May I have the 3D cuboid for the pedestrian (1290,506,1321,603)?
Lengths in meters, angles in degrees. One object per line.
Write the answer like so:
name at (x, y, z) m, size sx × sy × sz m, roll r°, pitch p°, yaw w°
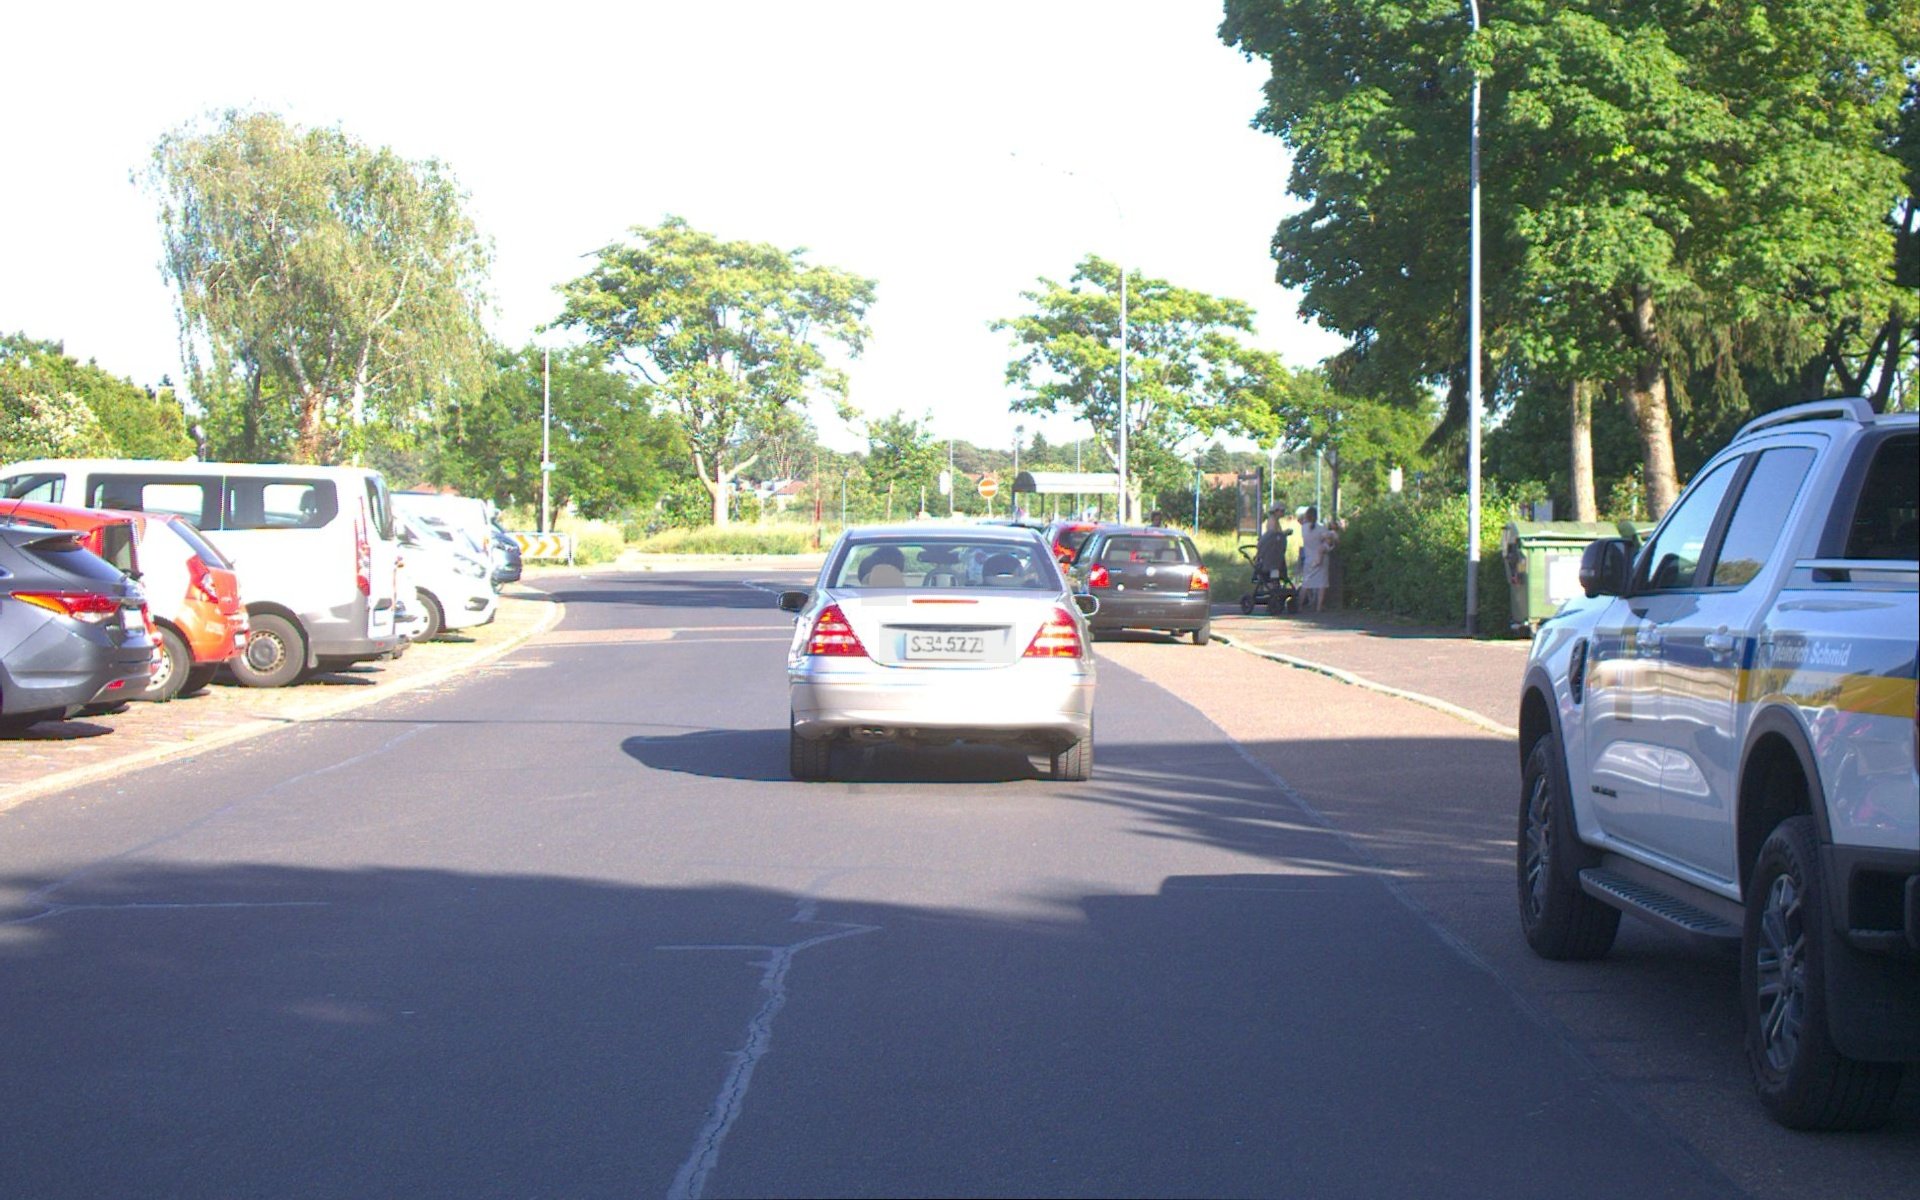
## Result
pedestrian at (5.388, -0.708, 53.653) m, size 0.361 × 1.498 × 0.501 m, roll -1°, pitch 0°, yaw -7°

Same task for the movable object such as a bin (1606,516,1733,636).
movable object such as a bin at (8.555, -0.294, 41.510) m, size 1.274 × 1.411 × 0.951 m, roll 1°, pitch 1°, yaw -3°

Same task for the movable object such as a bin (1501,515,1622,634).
movable object such as a bin at (7.241, -0.307, 41.463) m, size 1.237 × 1.398 × 0.915 m, roll 1°, pitch 1°, yaw -3°

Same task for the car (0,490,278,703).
car at (-7.554, -0.090, 27.940) m, size 3.602 × 1.562 × 1.852 m, roll 3°, pitch 2°, yaw 0°

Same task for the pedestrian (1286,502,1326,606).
pedestrian at (5.238, -0.696, 52.077) m, size 0.485 × 1.559 × 0.469 m, roll -1°, pitch 0°, yaw -8°

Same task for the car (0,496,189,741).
car at (-7.531, 0.010, 22.451) m, size 4.543 × 1.474 × 1.748 m, roll 3°, pitch 2°, yaw 0°

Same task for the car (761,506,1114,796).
car at (-0.201, 0.212, 20.274) m, size 1.816 × 1.458 × 4.361 m, roll 2°, pitch 2°, yaw -2°

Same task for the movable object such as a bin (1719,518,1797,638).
movable object such as a bin at (9.588, -0.267, 41.344) m, size 0.723 × 1.411 × 0.689 m, roll 1°, pitch 1°, yaw -3°

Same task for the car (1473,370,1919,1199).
car at (2.915, 0.383, 9.844) m, size 1.906 × 1.834 × 5.275 m, roll 3°, pitch 2°, yaw -1°

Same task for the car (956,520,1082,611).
car at (1.024, -0.635, 61.514) m, size 1.731 × 1.537 × 3.790 m, roll 1°, pitch 1°, yaw -7°

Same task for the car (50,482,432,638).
car at (-8.302, -0.467, 39.958) m, size 3.987 × 1.577 × 1.884 m, roll 3°, pitch 1°, yaw -1°

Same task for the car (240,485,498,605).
car at (-9.456, -0.895, 55.253) m, size 3.976 × 1.774 × 1.926 m, roll 2°, pitch 2°, yaw -8°

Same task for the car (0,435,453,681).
car at (-6.986, -0.397, 31.053) m, size 4.478 × 1.970 × 2.000 m, roll 3°, pitch 1°, yaw -1°

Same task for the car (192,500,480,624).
car at (-8.241, -0.505, 45.605) m, size 3.513 × 1.441 × 1.637 m, roll 3°, pitch 1°, yaw -2°

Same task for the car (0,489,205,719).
car at (-7.620, -0.051, 25.435) m, size 3.602 × 1.562 × 1.881 m, roll 3°, pitch 2°, yaw 0°

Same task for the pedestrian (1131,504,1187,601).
pedestrian at (3.290, -0.780, 56.897) m, size 0.787 × 1.559 × 0.570 m, roll 3°, pitch 0°, yaw -5°

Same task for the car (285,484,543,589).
car at (-10.640, -1.229, 67.040) m, size 4.870 × 1.909 × 2.001 m, roll 1°, pitch 1°, yaw -9°

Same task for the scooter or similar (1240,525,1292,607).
scooter or similar at (4.635, -0.520, 52.123) m, size 0.622 × 1.223 × 0.905 m, roll 0°, pitch 1°, yaw -5°

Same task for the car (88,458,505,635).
car at (-8.151, -0.661, 42.617) m, size 4.788 × 1.914 × 2.082 m, roll 3°, pitch 1°, yaw -4°

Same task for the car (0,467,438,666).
car at (-7.340, -0.331, 33.562) m, size 4.151 × 1.700 × 1.884 m, roll 3°, pitch 1°, yaw -1°

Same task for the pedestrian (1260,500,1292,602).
pedestrian at (4.893, -0.754, 53.198) m, size 0.481 × 1.559 × 0.597 m, roll -1°, pitch 0°, yaw 6°

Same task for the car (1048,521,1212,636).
car at (2.128, -0.291, 43.977) m, size 1.647 × 1.398 × 3.883 m, roll 0°, pitch 1°, yaw -4°

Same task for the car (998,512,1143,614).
car at (1.623, -0.565, 51.546) m, size 1.575 × 1.441 × 3.790 m, roll 1°, pitch 1°, yaw -7°
